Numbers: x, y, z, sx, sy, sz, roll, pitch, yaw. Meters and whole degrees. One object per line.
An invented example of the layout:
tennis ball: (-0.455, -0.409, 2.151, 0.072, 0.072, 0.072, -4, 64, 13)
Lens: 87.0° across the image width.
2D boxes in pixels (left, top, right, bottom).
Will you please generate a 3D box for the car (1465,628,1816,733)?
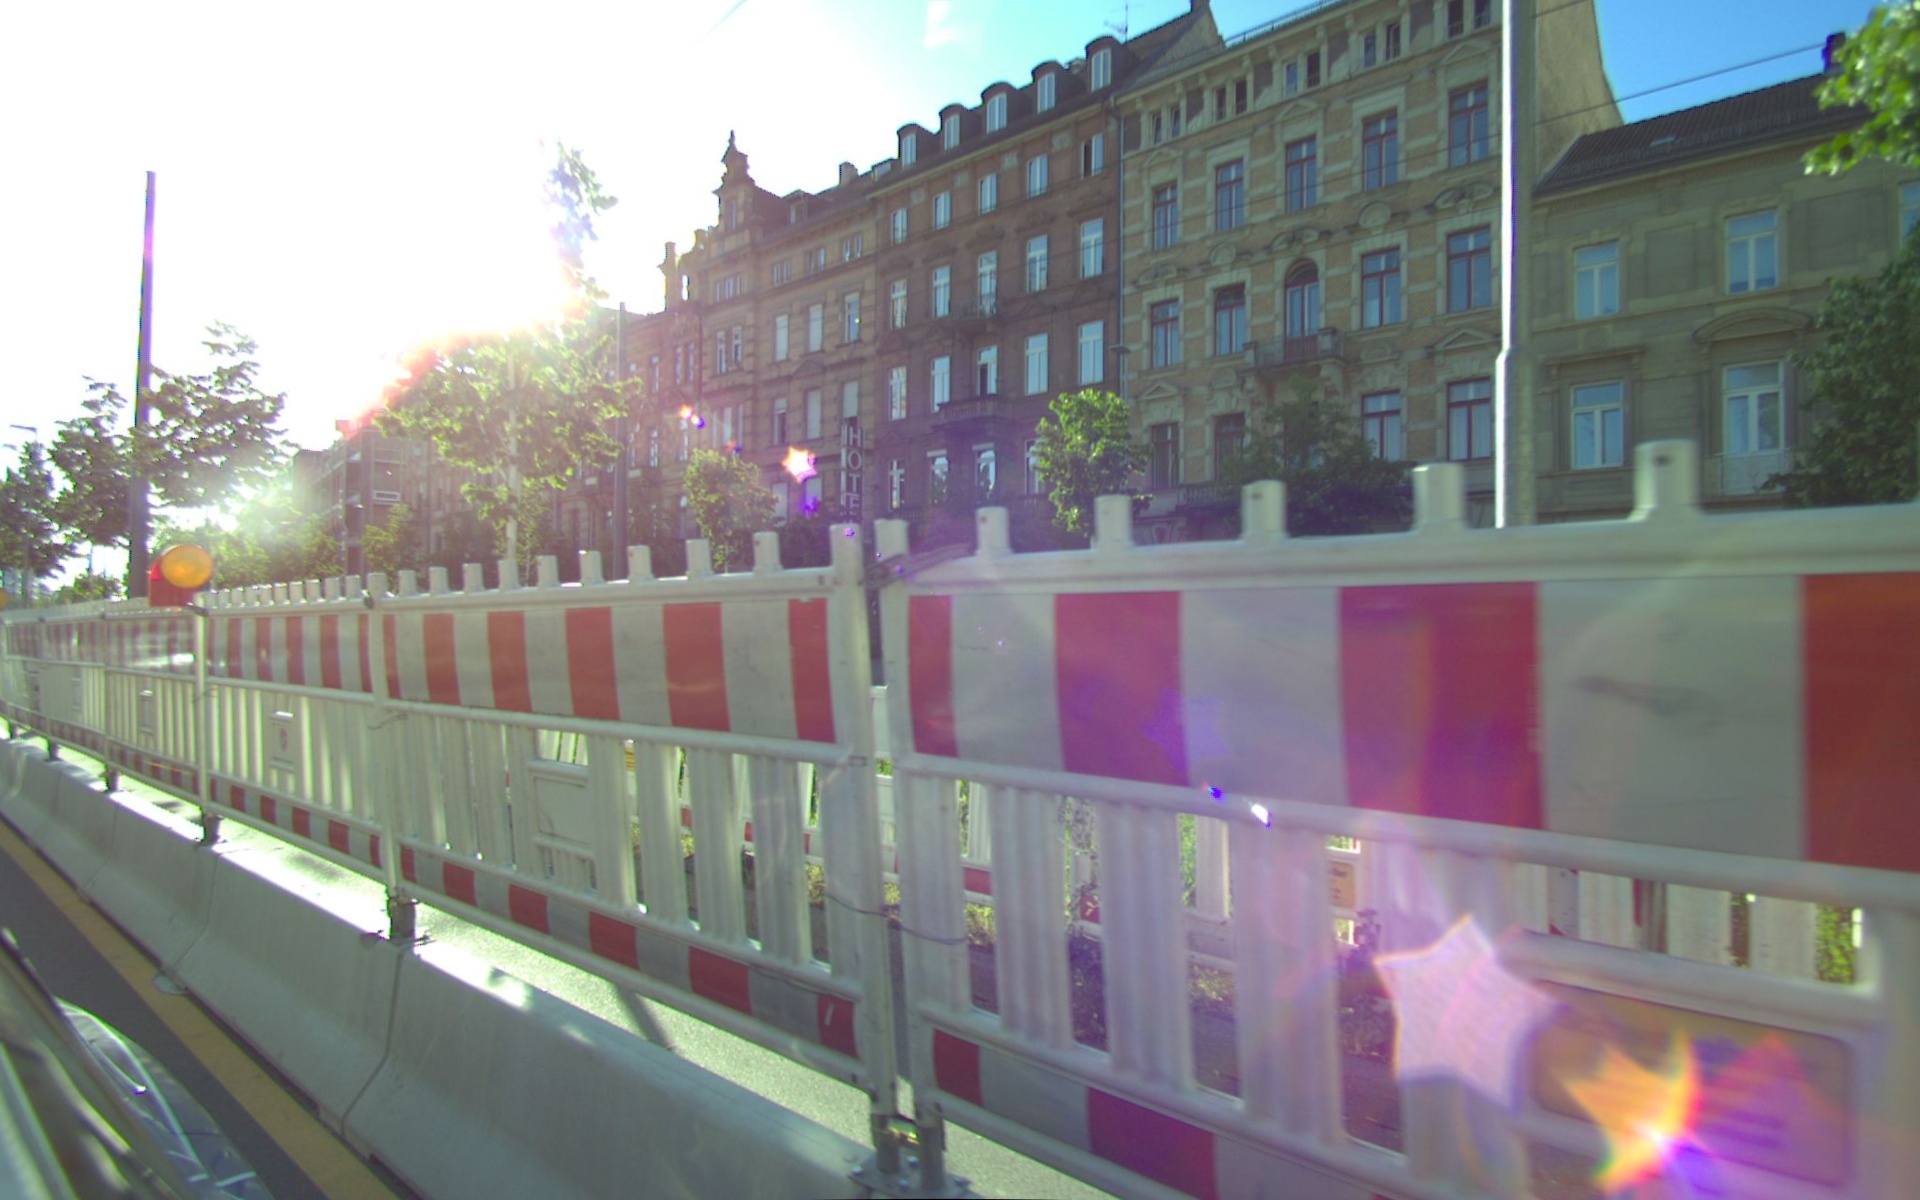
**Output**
car: (11.986, 1.309, 18.059, 4.982, 1.549, 1.973, -1, 0, 41)

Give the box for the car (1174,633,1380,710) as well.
car: (6.970, 1.510, 22.471, 4.026, 1.490, 1.730, -1, 0, 41)
